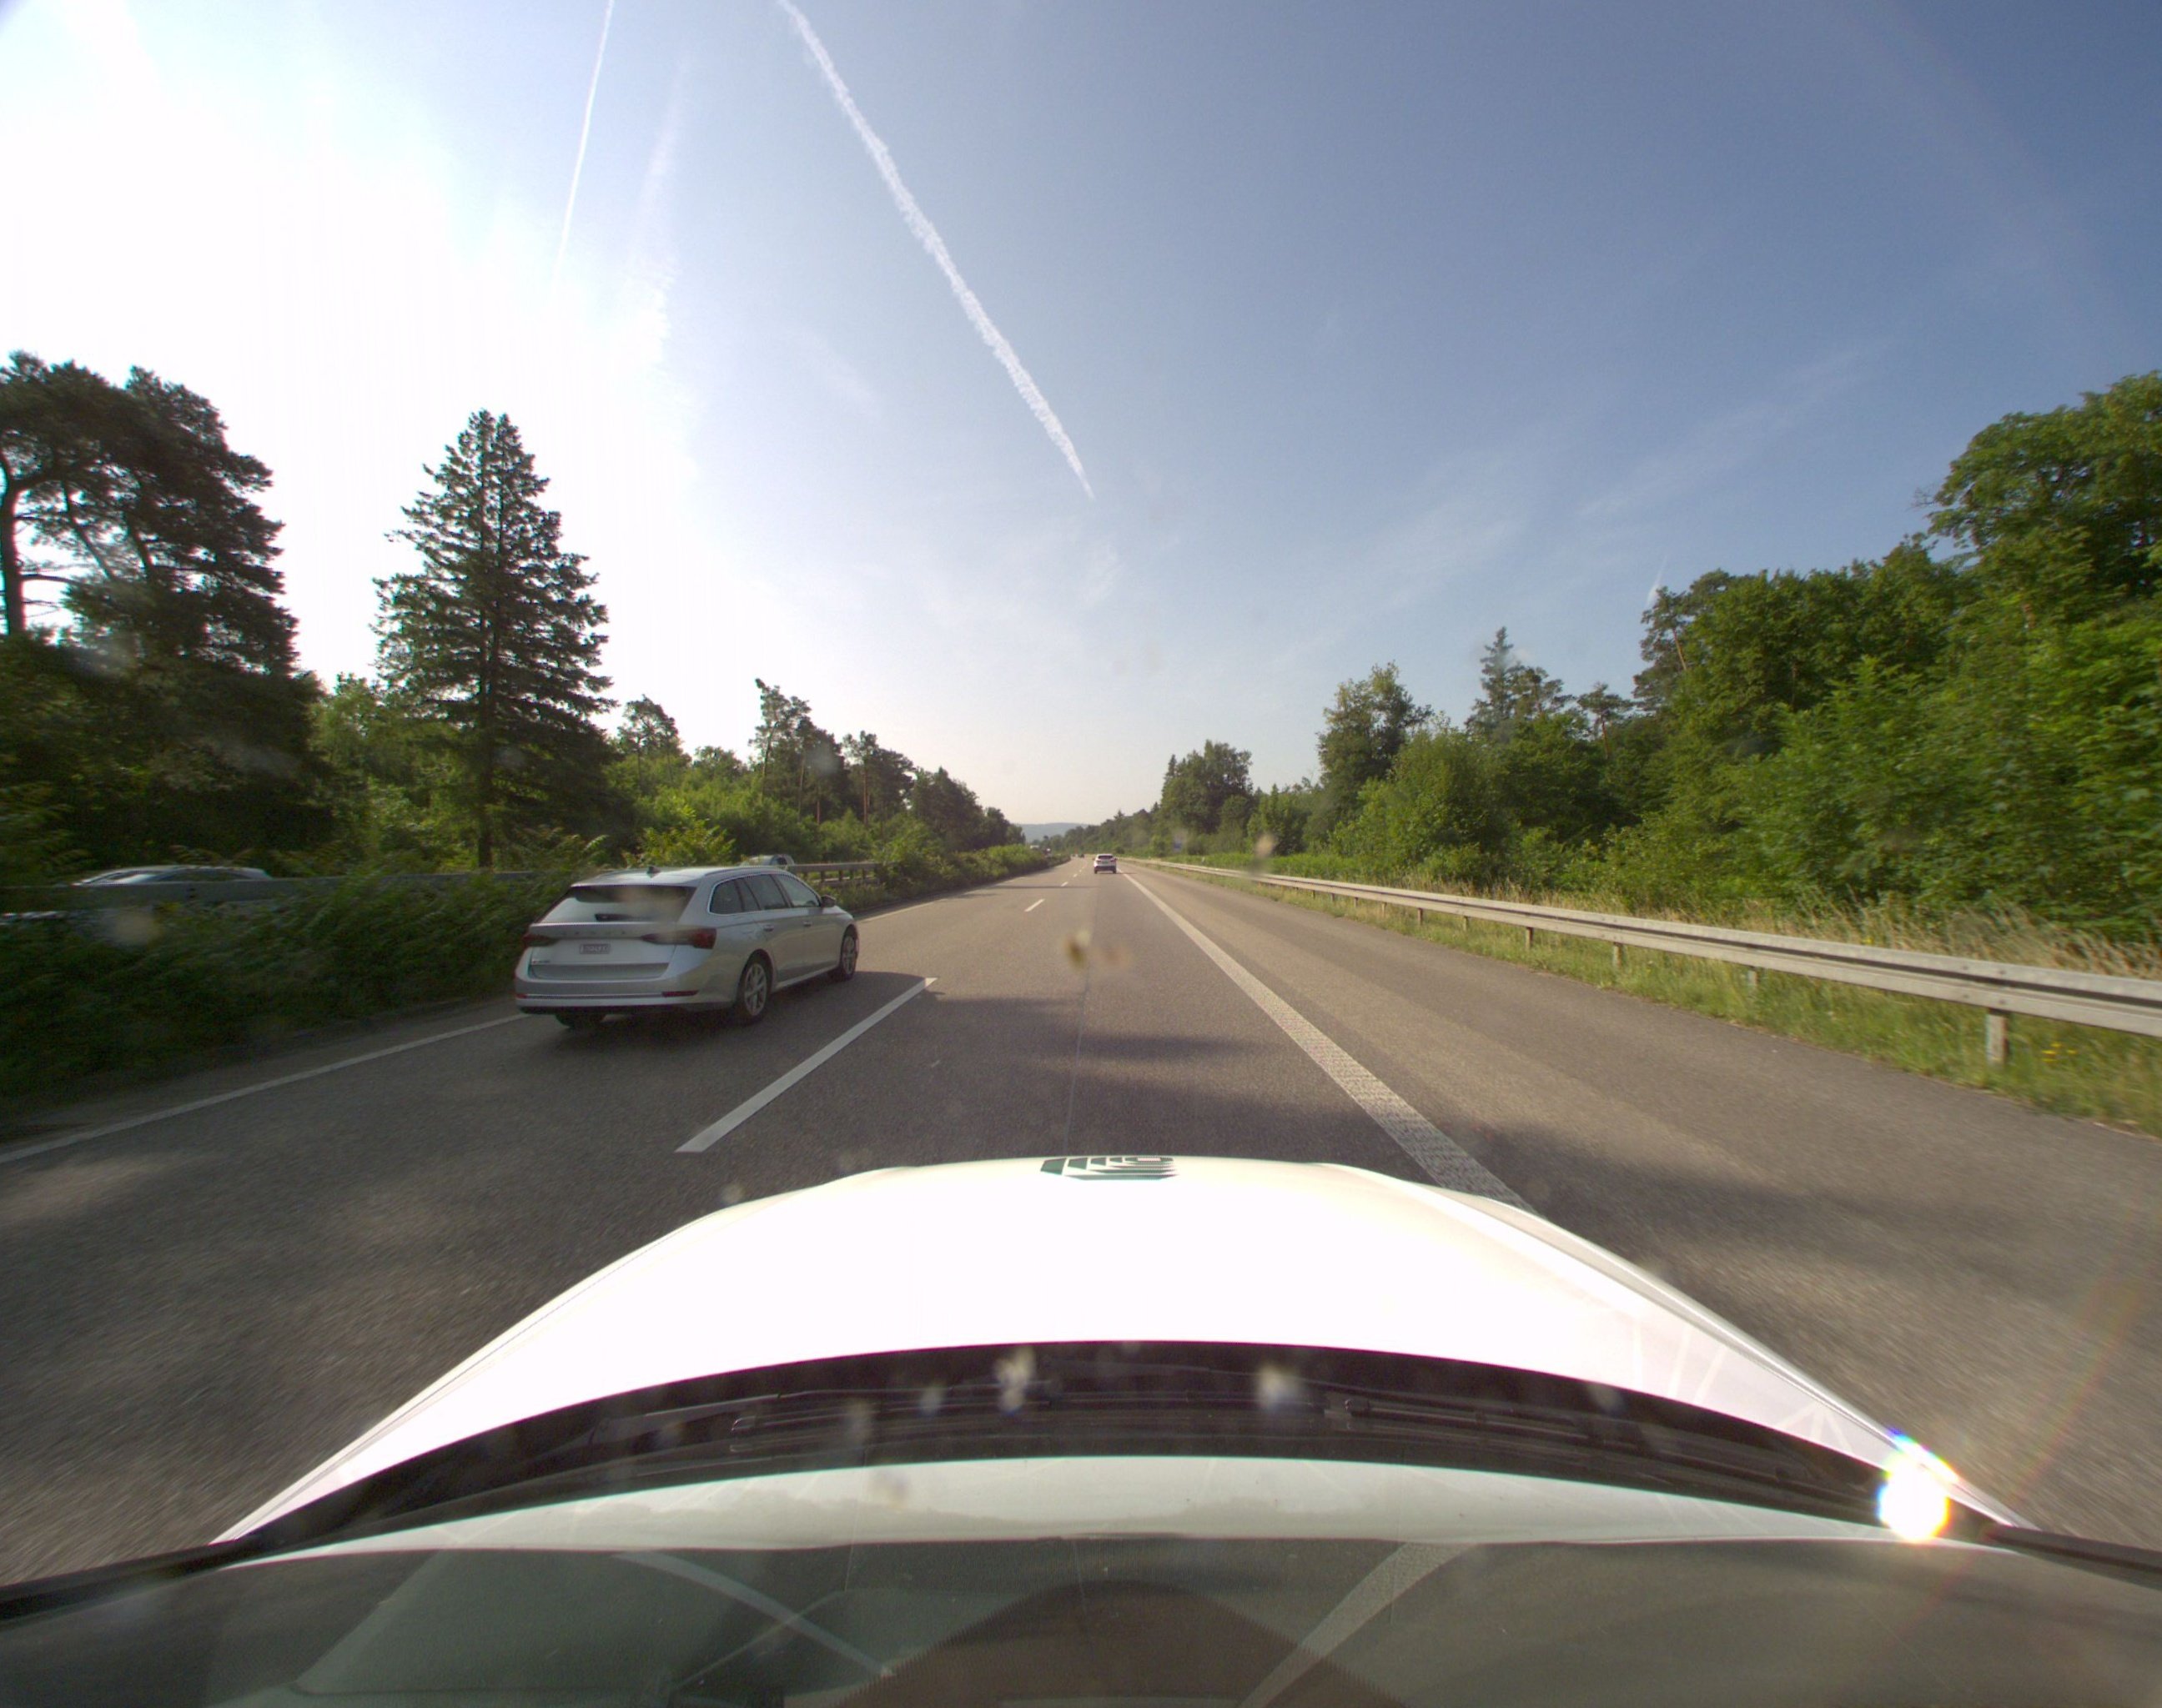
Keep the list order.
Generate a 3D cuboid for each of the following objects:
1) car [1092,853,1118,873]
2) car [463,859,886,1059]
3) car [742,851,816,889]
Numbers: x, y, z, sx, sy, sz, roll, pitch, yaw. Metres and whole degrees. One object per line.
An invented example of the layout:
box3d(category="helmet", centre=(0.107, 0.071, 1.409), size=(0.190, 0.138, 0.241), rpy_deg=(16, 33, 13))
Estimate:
box3d(category="car", centre=(1.943, 0.705, 66.447), size=(1.869, 1.586, 3.997), rpy_deg=(1, 0, -2))
box3d(category="car", centre=(-3.763, 0.827, 8.903), size=(1.785, 1.438, 5.281), rpy_deg=(-2, 0, 2))
box3d(category="car", centre=(-14.304, 0.725, 38.833), size=(1.808, 1.682, 4.302), rpy_deg=(0, -1, 2))
